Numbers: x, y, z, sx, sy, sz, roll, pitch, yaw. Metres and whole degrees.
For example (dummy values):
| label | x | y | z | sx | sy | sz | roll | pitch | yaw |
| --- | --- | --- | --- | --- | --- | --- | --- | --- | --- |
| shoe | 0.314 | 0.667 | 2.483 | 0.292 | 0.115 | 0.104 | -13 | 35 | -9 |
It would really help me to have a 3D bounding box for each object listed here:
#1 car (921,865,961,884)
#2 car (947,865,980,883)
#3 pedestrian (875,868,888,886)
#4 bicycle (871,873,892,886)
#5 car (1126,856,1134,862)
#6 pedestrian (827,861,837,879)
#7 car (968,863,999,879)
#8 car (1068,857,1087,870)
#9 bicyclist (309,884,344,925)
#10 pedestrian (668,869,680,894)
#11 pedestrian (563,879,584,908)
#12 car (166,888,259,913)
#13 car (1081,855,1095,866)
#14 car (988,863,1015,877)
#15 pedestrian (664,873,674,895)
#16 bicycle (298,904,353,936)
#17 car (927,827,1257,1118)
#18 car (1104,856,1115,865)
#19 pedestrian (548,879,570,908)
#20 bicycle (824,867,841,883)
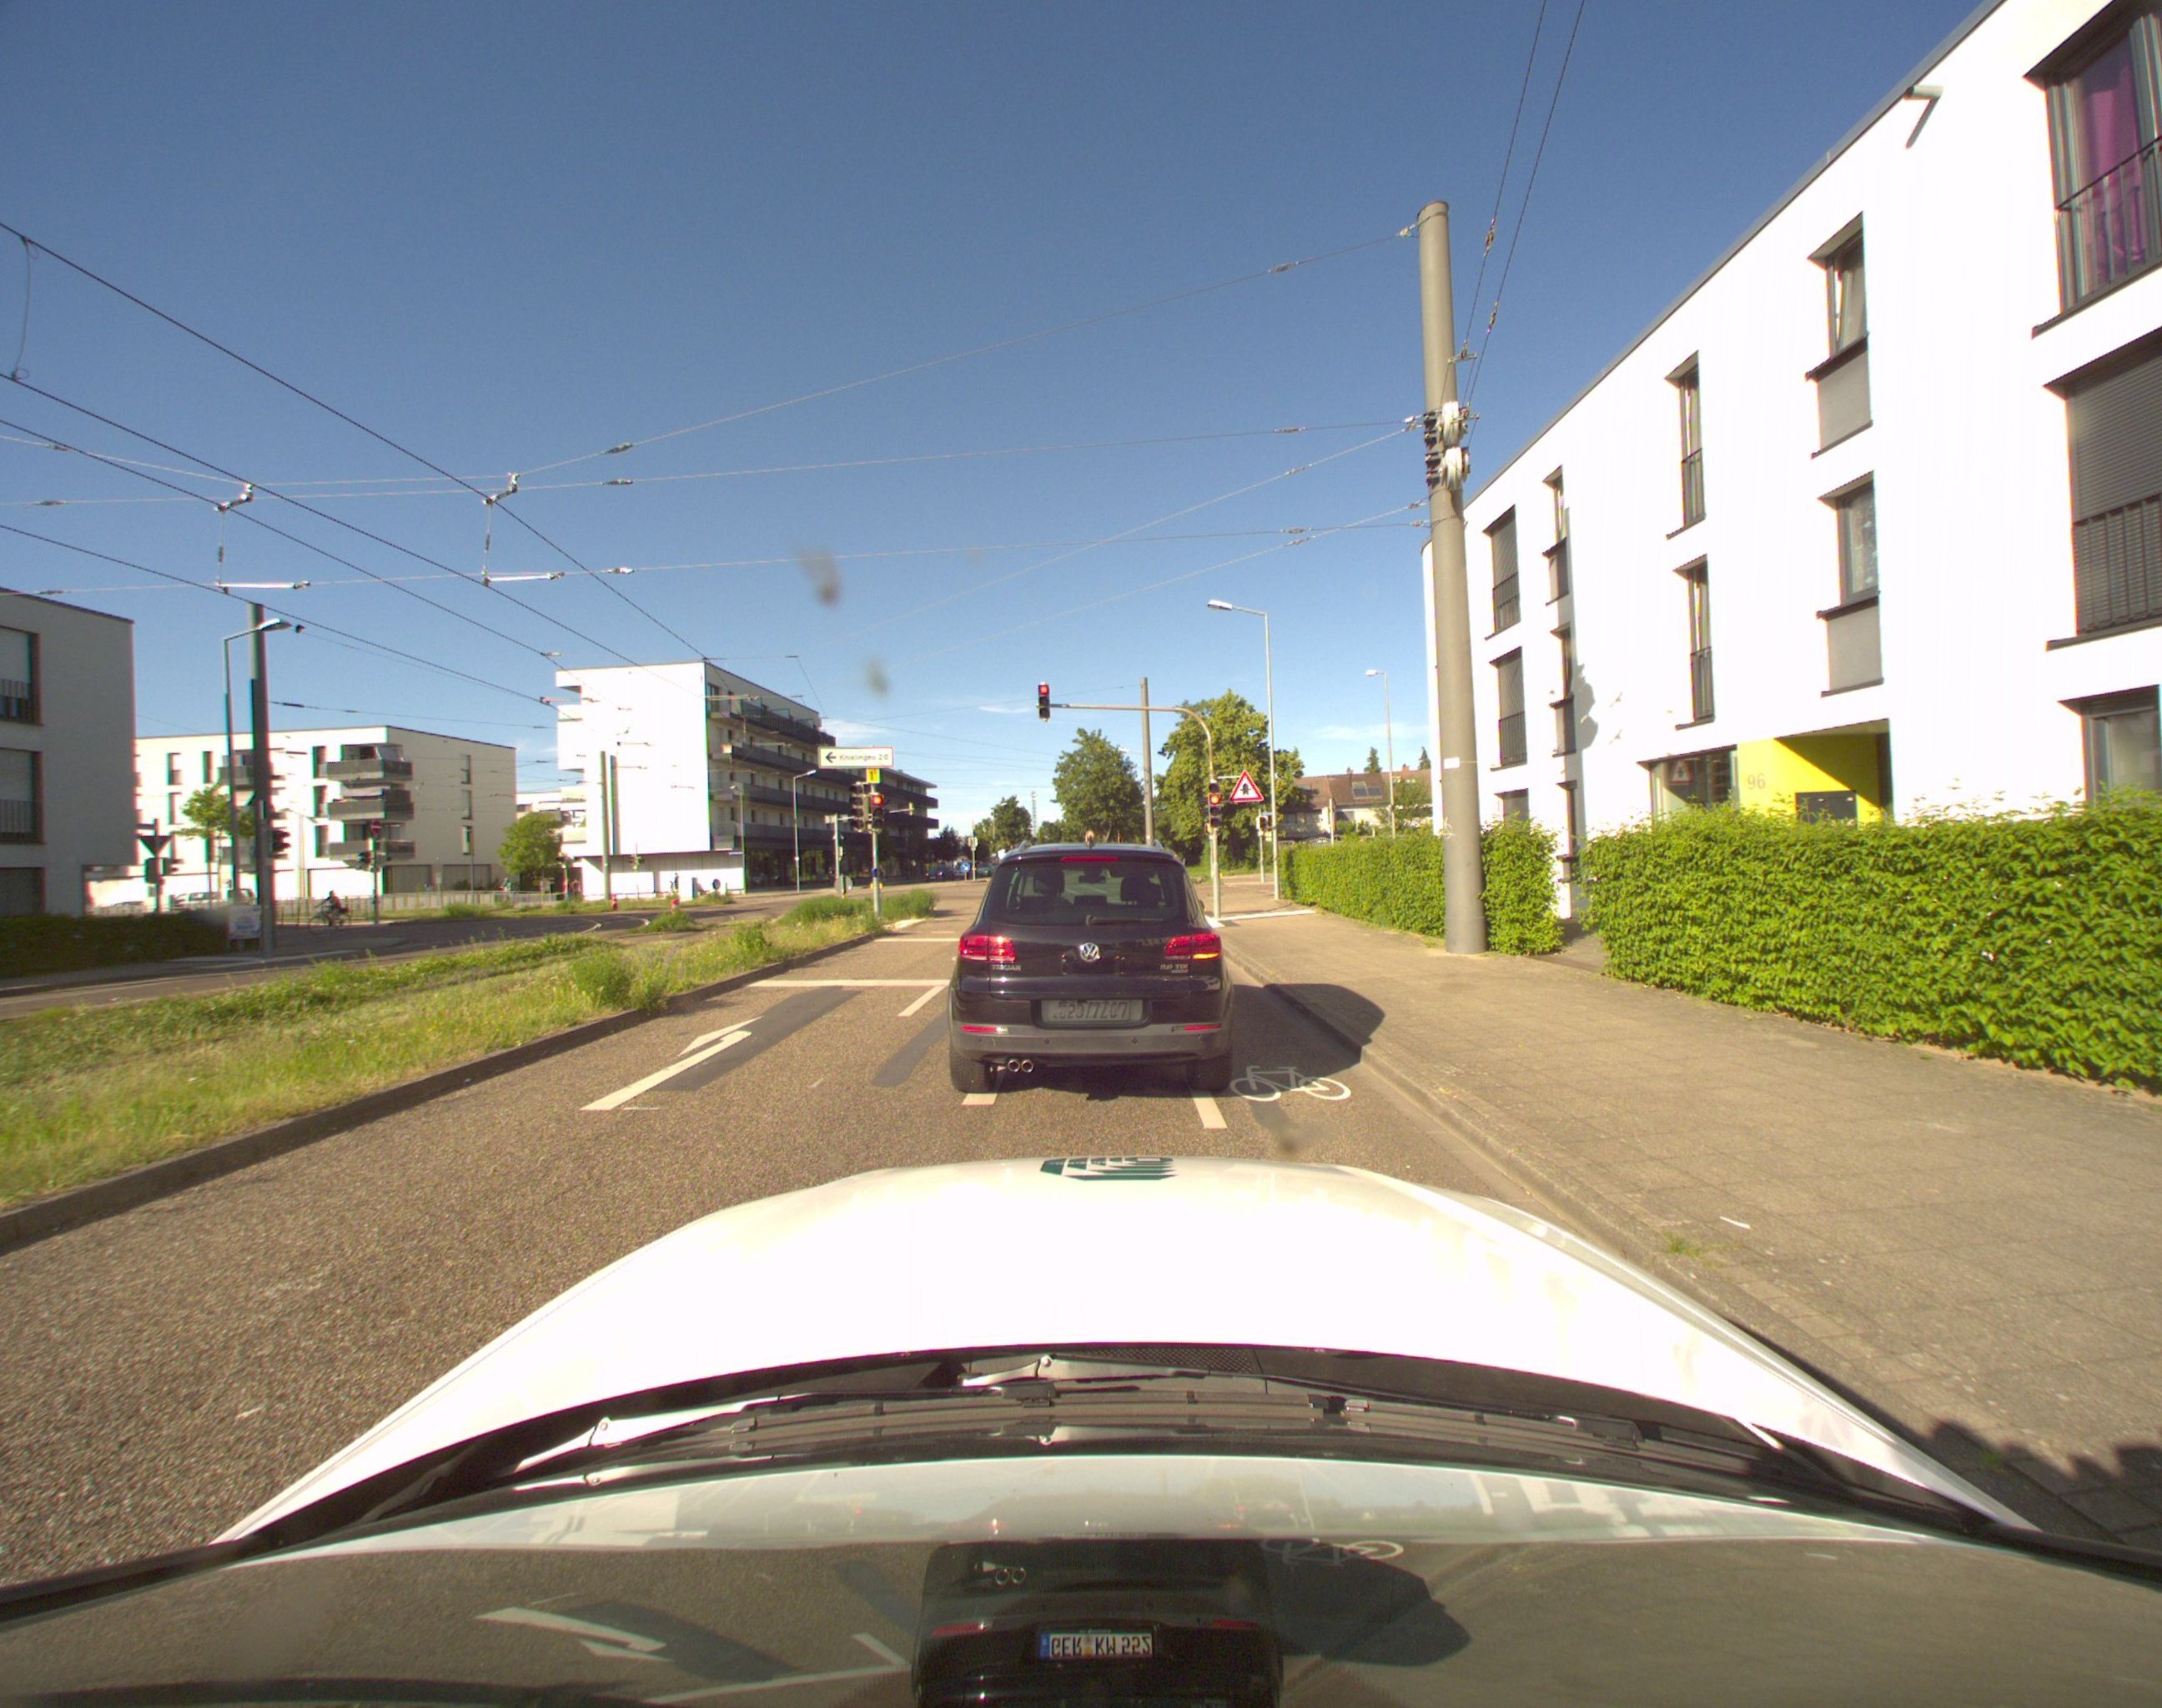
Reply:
| label | x | y | z | sx | sy | sz | roll | pitch | yaw |
| --- | --- | --- | --- | --- | --- | --- | --- | --- | --- |
| car | -12.346 | 1.803 | 71.942 | 1.980 | 1.574 | 4.353 | -1 | -1 | 11 |
| car | -11.295 | 1.914 | 78.641 | 1.981 | 1.574 | 4.350 | -1 | -1 | 9 |
| pedestrian | -16.110 | 1.852 | 65.724 | 0.707 | 1.474 | 0.956 | -1 | -1 | 9 |
| bicycle | -16.083 | 2.014 | 65.749 | 0.766 | 0.989 | 2.438 | -1 | -1 | 9 |
| car | 13.092 | 1.318 | 217.646 | 1.987 | 1.684 | 4.000 | 0 | -1 | 0 |
| pedestrian | -20.937 | 1.379 | 68.574 | 0.639 | 1.509 | 0.597 | 0 | -1 | 5 |
| car | -10.199 | 1.800 | 85.461 | 1.981 | 1.574 | 4.350 | -1 | -1 | 9 |
| car | -0.436 | 1.224 | 107.452 | 1.852 | 1.485 | 4.121 | -3 | 0 | 9 |
| bicyclist | -30.111 | 2.002 | 32.506 | 0.783 | 1.614 | 0.638 | 0 | -1 | -14 |
| pedestrian | -28.691 | 1.944 | 57.418 | 0.542 | 1.744 | 0.517 | 0 | -1 | -4 |
| pedestrian | -28.898 | 2.239 | 46.401 | 0.770 | 1.605 | 0.741 | 0 | -1 | -5 |
| car | -58.860 | 3.154 | 55.234 | 4.305 | 1.574 | 2.002 | 0 | -1 | 4 |
| car | 1.128 | 0.993 | 126.872 | 1.855 | 1.720 | 3.690 | -2 | 0 | 4 |
| car | -8.890 | 1.759 | 91.424 | 1.981 | 1.574 | 4.350 | -1 | -1 | 9 |
| pedestrian | -28.795 | 2.066 | 56.878 | 0.440 | 1.503 | 0.517 | 0 | -1 | -4 |
| bicycle | -30.130 | 2.609 | 32.523 | 0.821 | 1.124 | 1.851 | 0 | -1 | -15 |
| car | 0.122 | 0.690 | 6.621 | 1.862 | 1.637 | 4.001 | 0 | -1 | 2 |
| car | 5.796 | 1.366 | 163.628 | 1.984 | 1.836 | 4.005 | 0 | -1 | 5 |
| pedestrian | -29.749 | 2.246 | 46.442 | 0.770 | 1.605 | 0.741 | 0 | -1 | -5 |
| bicycle | -20.930 | 1.736 | 68.631 | 0.627 | 1.332 | 1.915 | 0 | -1 | 5 |
